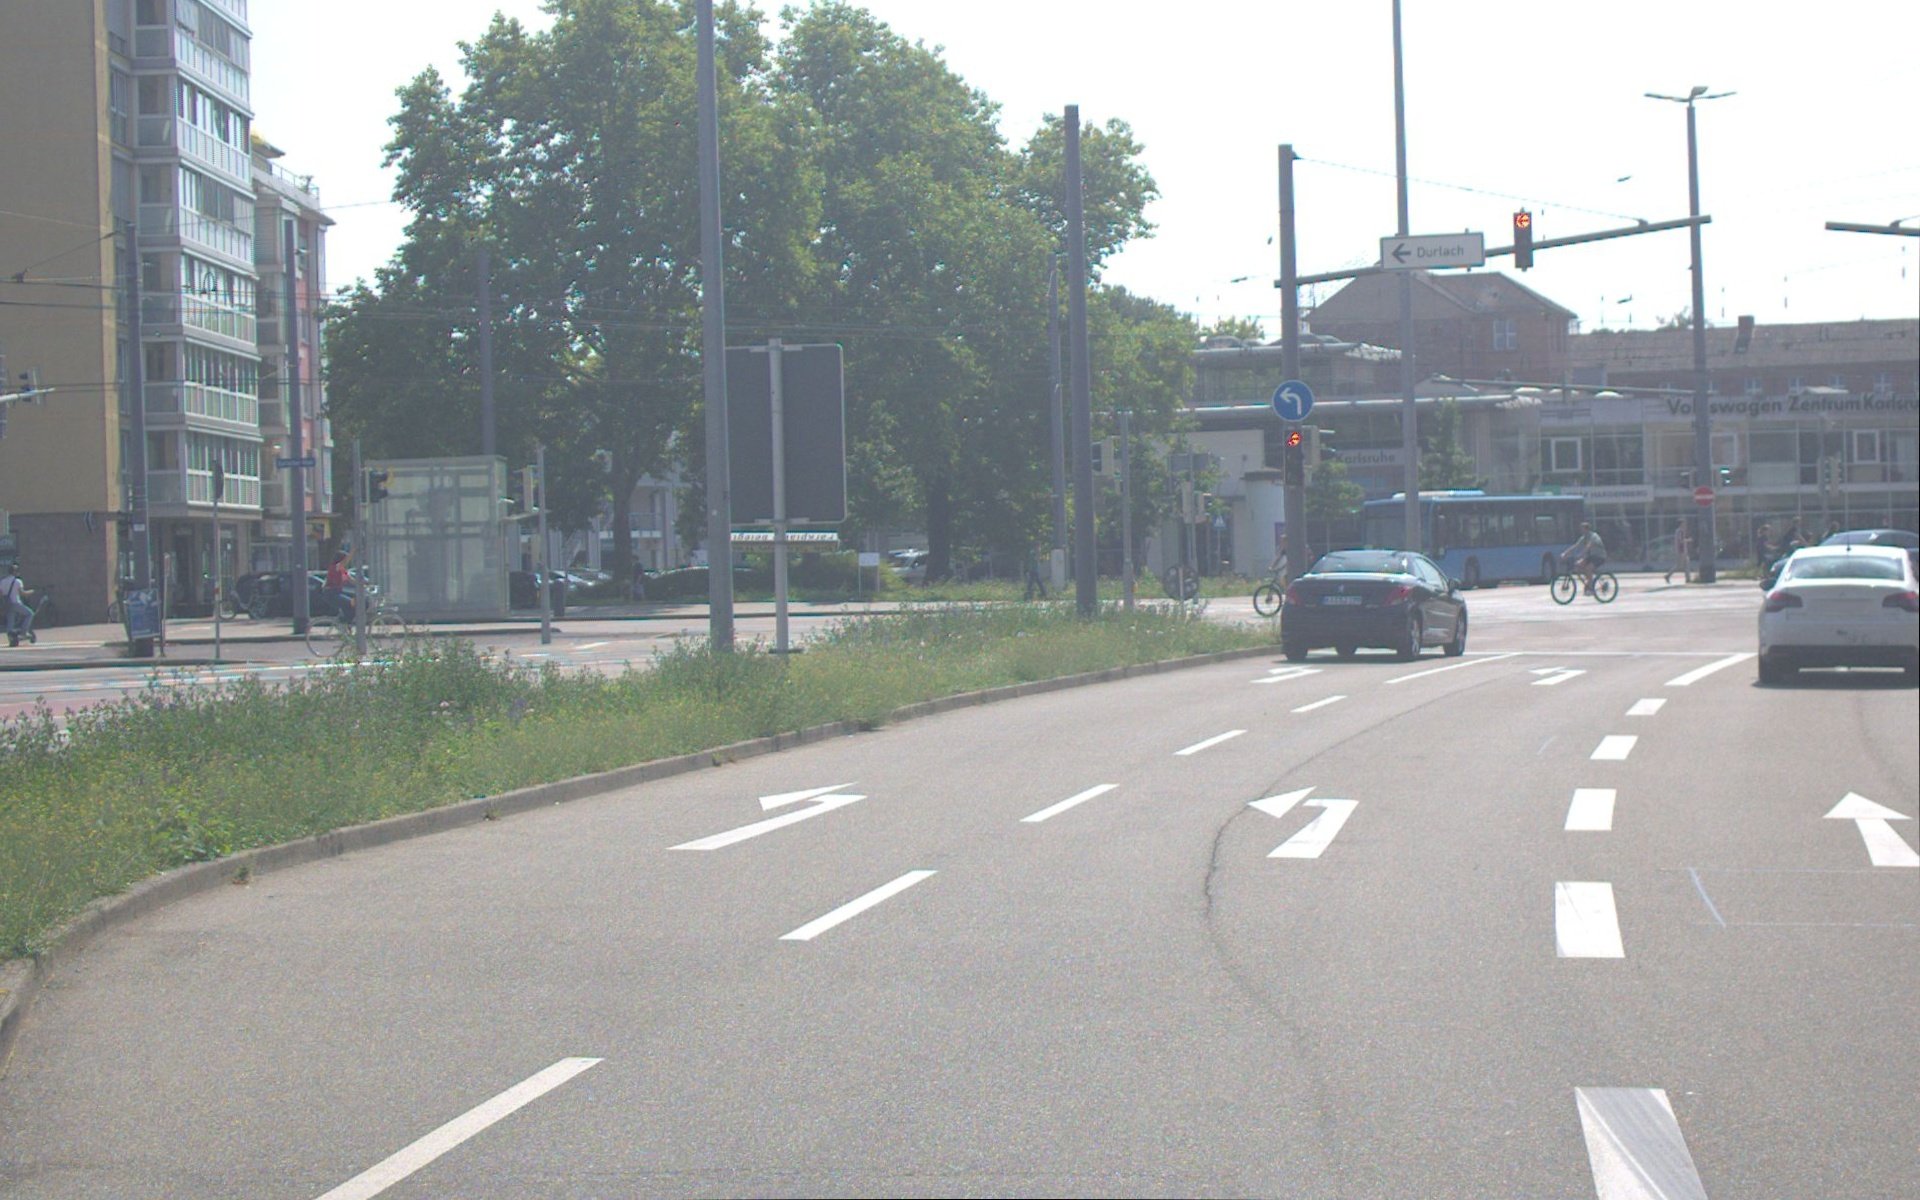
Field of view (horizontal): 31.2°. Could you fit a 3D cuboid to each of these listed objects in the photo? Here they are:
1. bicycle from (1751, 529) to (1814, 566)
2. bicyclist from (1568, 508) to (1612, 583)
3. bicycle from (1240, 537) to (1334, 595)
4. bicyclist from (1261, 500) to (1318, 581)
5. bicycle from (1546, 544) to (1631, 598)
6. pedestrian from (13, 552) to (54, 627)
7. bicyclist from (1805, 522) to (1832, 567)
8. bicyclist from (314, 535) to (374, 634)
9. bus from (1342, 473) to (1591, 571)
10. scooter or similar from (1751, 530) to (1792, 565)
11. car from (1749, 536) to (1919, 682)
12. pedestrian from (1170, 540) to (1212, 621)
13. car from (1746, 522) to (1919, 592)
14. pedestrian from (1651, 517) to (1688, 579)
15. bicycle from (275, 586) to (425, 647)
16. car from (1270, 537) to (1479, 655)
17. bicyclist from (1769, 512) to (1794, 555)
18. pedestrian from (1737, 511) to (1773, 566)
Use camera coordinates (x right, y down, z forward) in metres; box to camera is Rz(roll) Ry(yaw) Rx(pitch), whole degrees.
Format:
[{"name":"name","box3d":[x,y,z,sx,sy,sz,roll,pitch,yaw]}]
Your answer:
[{"name":"bicycle","box3d":[22.614,-1.451,94.539,1.594,0.981,0.506,0,1,33]},{"name":"bicyclist","box3d":[13.900,-1.197,75.831,0.618,1.644,0.692,-2,1,-40]},{"name":"bicycle","box3d":[6.842,-0.719,72.068,0.972,1.174,2.833,-2,1,-16]},{"name":"bicyclist","box3d":[6.886,-1.244,71.880,0.972,1.648,0.662,-2,1,-16]},{"name":"bicycle","box3d":[13.859,-0.647,75.795,2.038,1.133,0.698,-2,1,-40]},{"name":"pedestrian","box3d":[-20.432,-0.227,75.806,0.648,1.627,0.814,-2,1,0]},{"name":"bicyclist","box3d":[23.922,-1.557,95.809,0.595,1.243,0.506,-1,1,27]},{"name":"bicyclist","box3d":[-10.431,-0.259,58.204,0.838,1.637,0.607,-3,0,-1]},{"name":"bus","box3d":[16.243,-2.533,109.231,3.059,2.921,11.831,-1,1,33]},{"name":"scooter or similar","box3d":[23.478,-1.522,99.425,0.836,0.971,0.792,-2,1,-38]},{"name":"car","box3d":[9.681,0.050,37.454,1.759,1.450,4.422,0,2,18]},{"name":"pedestrian","box3d":[3.704,-0.311,55.194,0.595,1.264,0.505,-2,3,-1]},{"name":"car","box3d":[19.731,-0.961,75.252,4.548,1.433,2.000,-2,1,-22]},{"name":"pedestrian","box3d":[20.338,-1.487,98.504,0.785,1.746,0.807,-1,1,32]},{"name":"bicycle","box3d":[-10.320,0.277,58.202,2.409,0.950,0.604,-1,1,-1]},{"name":"car","box3d":[5.375,-0.085,44.205,1.760,1.399,3.977,0,2,21]},{"name":"bicyclist","box3d":[22.587,-1.824,94.547,0.504,1.184,0.506,-1,1,33]},{"name":"pedestrian","box3d":[22.873,-1.774,98.935,0.635,1.555,0.747,-2,1,-39]}]
